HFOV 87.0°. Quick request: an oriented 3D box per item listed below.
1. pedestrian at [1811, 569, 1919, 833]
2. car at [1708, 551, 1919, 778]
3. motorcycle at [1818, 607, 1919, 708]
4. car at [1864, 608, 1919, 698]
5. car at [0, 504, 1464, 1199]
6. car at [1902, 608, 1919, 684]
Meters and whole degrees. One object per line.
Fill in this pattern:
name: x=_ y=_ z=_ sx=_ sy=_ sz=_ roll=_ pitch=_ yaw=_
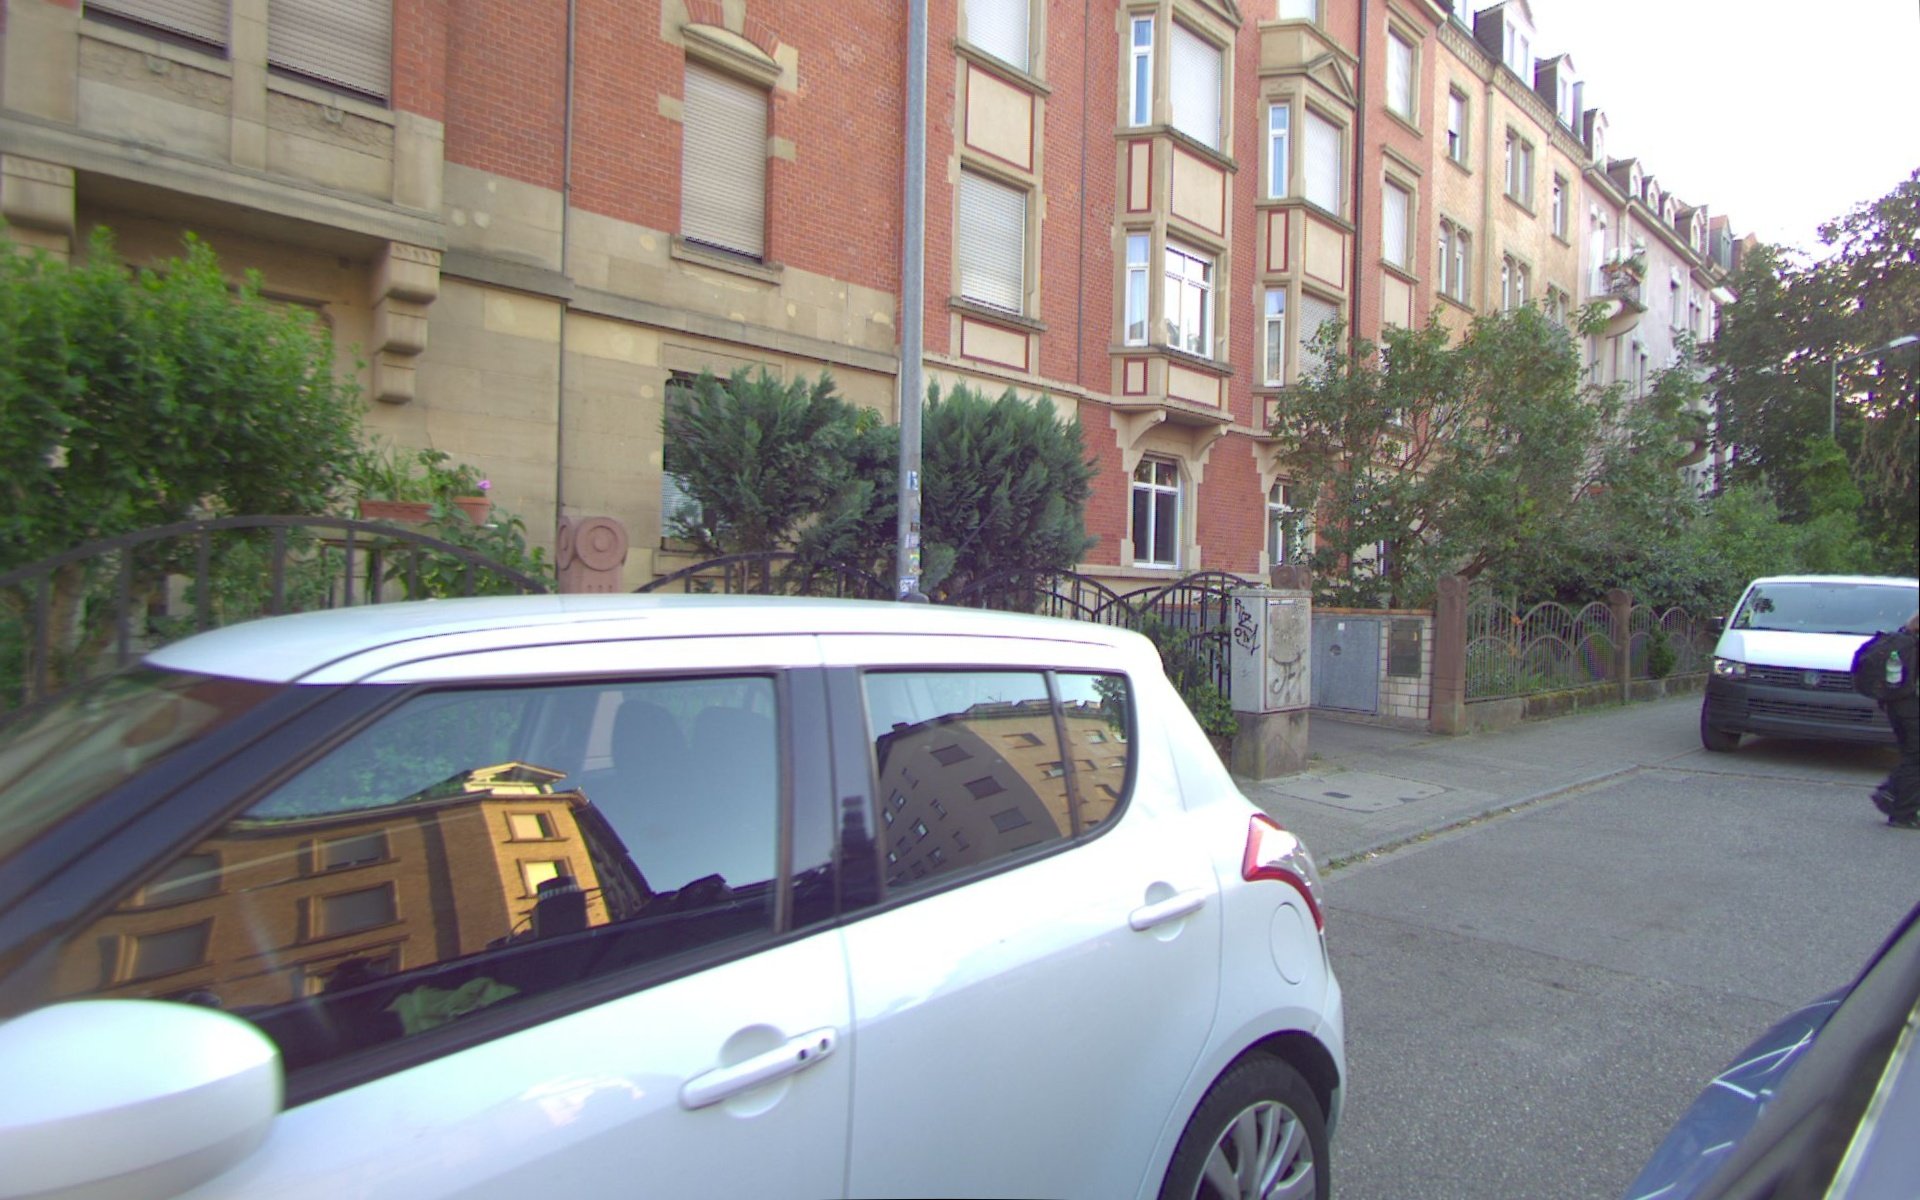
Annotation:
pedestrian: x=6.832 y=0.671 z=7.108 sx=0.942 sy=1.744 sz=0.890 roll=0 pitch=-1 yaw=6
car: x=10.445 y=0.587 z=11.656 sx=5.450 sy=2.064 sz=1.864 roll=0 pitch=2 yaw=-43
motorcycle: x=15.370 y=0.936 z=16.257 sx=2.066 sy=1.500 sz=1.128 roll=3 pitch=2 yaw=16
car: x=18.467 y=0.945 z=18.919 sx=4.247 sy=1.571 sz=1.724 roll=0 pitch=0 yaw=-39
car: x=-0.830 y=0.669 z=1.813 sx=3.791 sy=1.496 sz=1.678 roll=0 pitch=0 yaw=-39
car: x=22.373 y=0.975 z=22.293 sx=4.755 sy=1.602 sz=1.760 roll=0 pitch=-1 yaw=-39
